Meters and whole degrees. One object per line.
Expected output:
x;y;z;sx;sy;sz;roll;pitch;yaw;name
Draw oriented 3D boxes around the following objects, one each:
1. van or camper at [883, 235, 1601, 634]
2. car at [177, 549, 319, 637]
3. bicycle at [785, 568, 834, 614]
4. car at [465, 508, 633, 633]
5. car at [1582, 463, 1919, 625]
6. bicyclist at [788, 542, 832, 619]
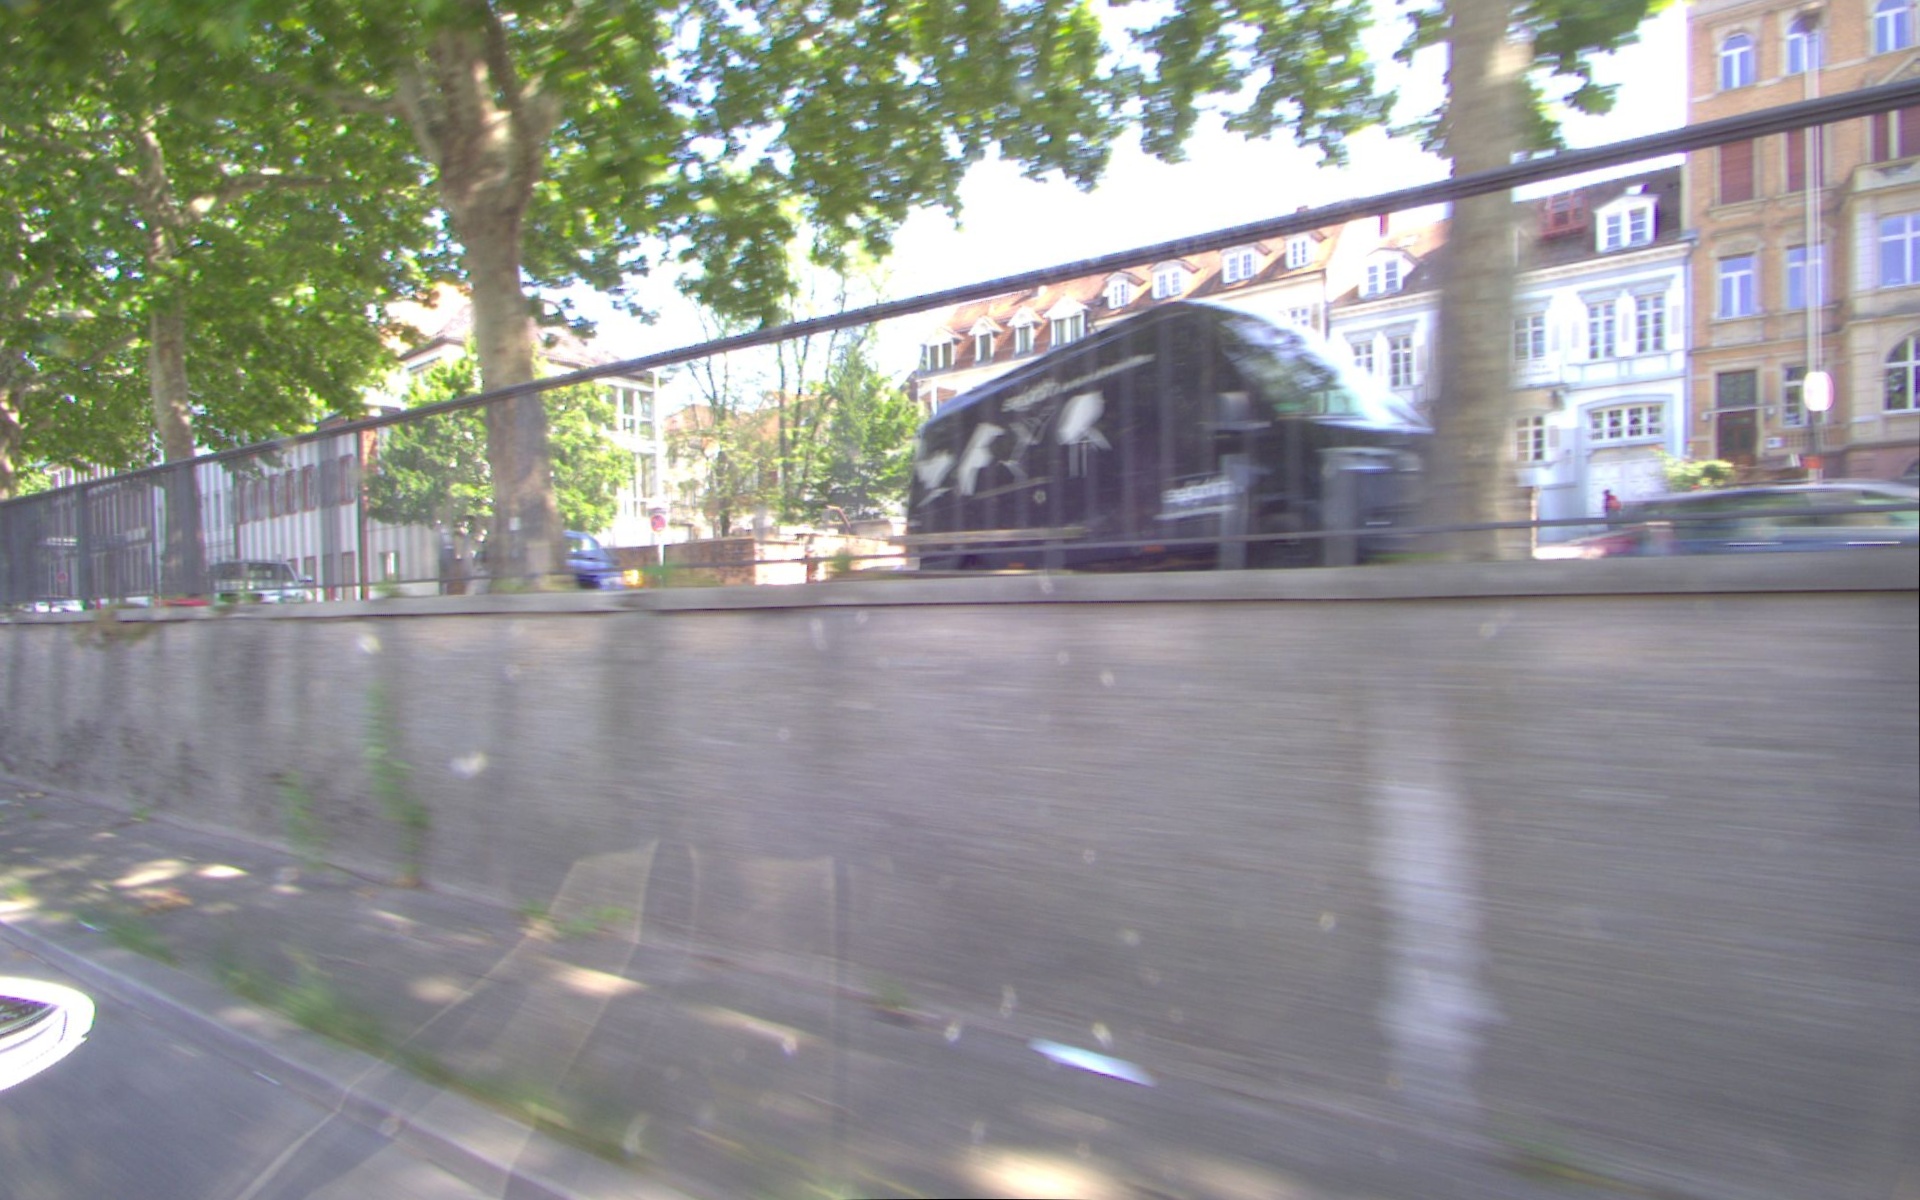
1.770;-0.861;9.728;2.311;2.210;7.328;2;-4;-28;van or camper
-13.448;-0.075;19.141;1.754;1.488;3.981;0;-1;-29;car
-3.523;-0.192;23.408;0.414;0.988;1.533;1;-3;-39;bicycle
-5.979;-0.321;14.316;1.631;1.520;3.796;0;-1;-32;car
9.165;-0.551;10.590;4.367;1.533;1.832;-1;2;34;car
-3.497;-0.439;23.354;0.696;1.704;0.838;1;-3;-40;bicyclist
